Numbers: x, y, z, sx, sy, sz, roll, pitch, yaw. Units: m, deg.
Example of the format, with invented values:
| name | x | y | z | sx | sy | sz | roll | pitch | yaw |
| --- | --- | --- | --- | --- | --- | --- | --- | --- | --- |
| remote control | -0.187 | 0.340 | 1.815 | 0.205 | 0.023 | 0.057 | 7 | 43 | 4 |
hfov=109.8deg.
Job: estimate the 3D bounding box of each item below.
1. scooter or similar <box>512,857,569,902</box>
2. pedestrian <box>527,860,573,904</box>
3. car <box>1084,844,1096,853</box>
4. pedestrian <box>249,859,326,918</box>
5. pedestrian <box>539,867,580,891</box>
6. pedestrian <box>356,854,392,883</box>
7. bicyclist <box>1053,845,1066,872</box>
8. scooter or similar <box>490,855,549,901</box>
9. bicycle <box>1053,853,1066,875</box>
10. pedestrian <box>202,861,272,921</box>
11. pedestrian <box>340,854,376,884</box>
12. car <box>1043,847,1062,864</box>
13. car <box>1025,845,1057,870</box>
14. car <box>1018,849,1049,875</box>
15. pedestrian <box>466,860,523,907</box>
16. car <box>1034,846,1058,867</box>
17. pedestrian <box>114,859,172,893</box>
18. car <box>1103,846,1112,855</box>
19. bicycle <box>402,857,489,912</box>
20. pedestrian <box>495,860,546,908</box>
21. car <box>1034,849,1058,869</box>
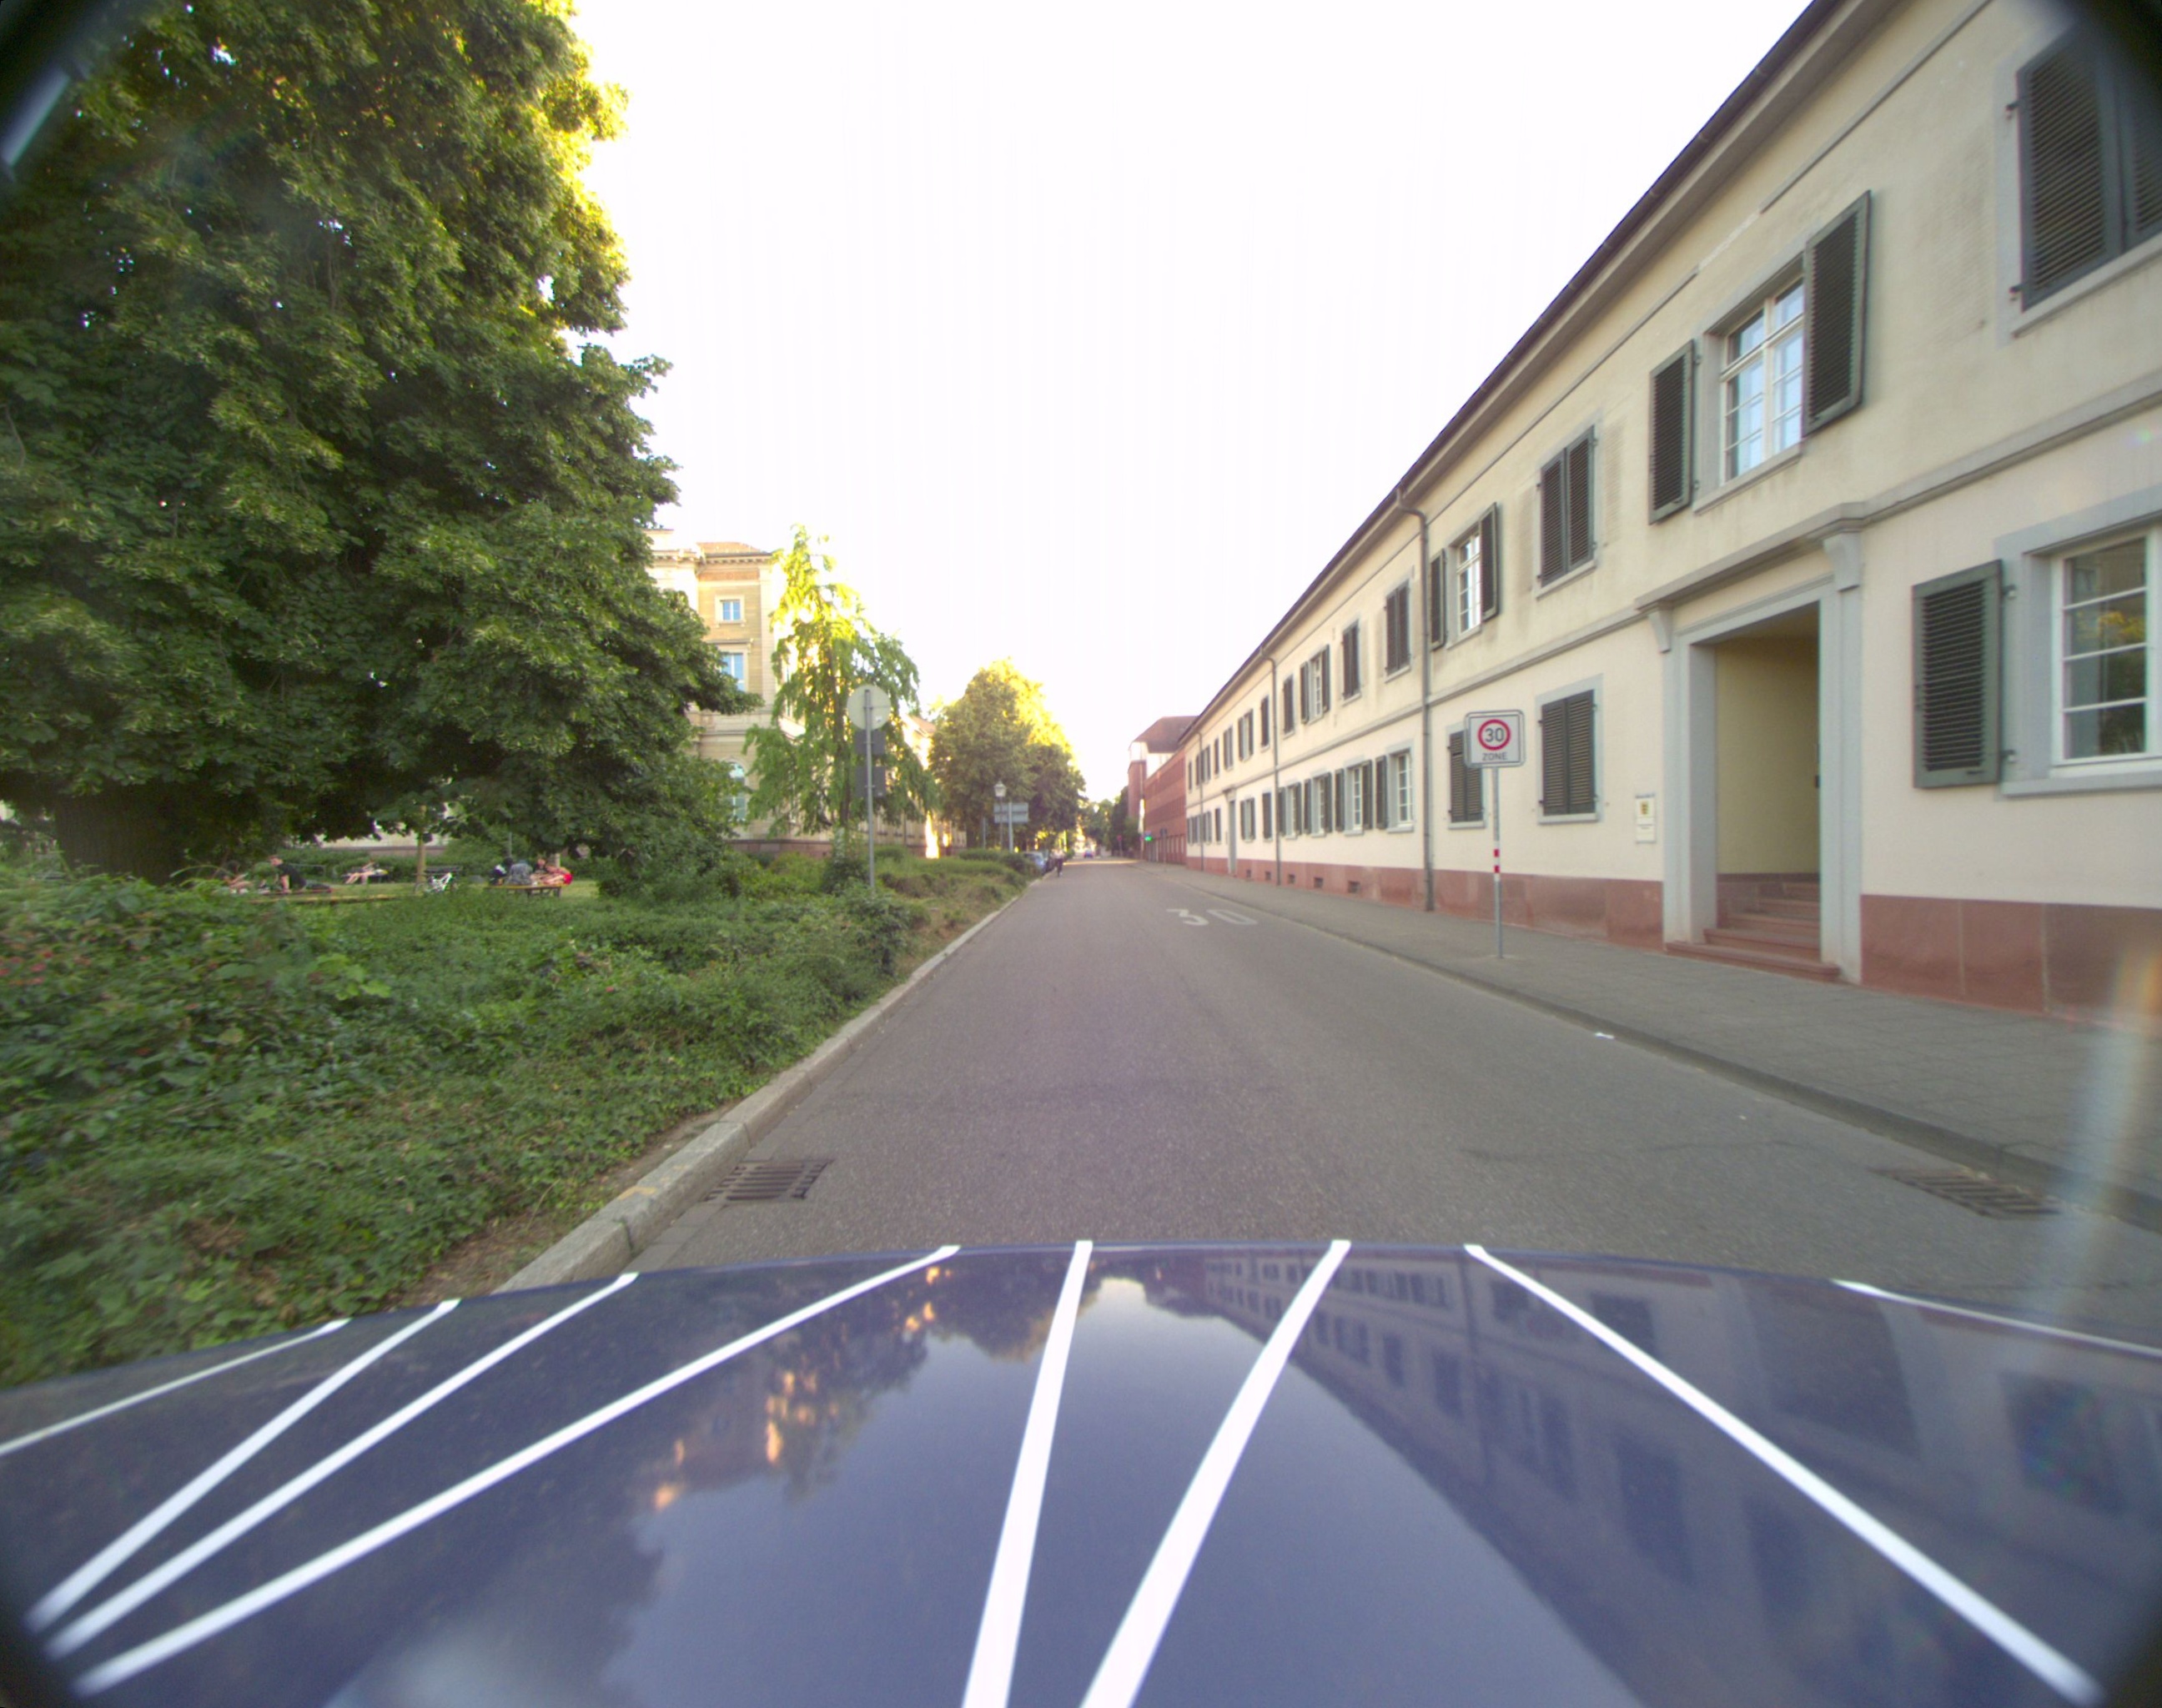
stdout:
| name | x | y | z | sx | sy | sz | roll | pitch | yaw |
| --- | --- | --- | --- | --- | --- | --- | --- | --- | --- |
| scooter or similar | -15.261 | 0.720 | 21.484 | 1.221 | 1.238 | 0.418 | -1 | 1 | -12 |
| pedestrian | -14.611 | 0.754 | 20.911 | 0.663 | 1.185 | 0.796 | 0 | 1 | 28 |
| car | 1.935 | -1.154 | 163.725 | 1.999 | 1.863 | 5.107 | -1 | -1 | -4 |
| pedestrian | -19.000 | 0.802 | 18.216 | 0.920 | 1.339 | 0.883 | -1 | 1 | -15 |
| pedestrian | -13.944 | 0.662 | 20.327 | 0.542 | 0.546 | 1.375 | 2 | 0 | -19 |
| pedestrian | -33.841 | 0.679 | 36.385 | 0.695 | 1.389 | 1.044 | 0 | 1 | 1 |
| bicyclist | -1.267 | 0.258 | 44.582 | 0.753 | 1.603 | 1.038 | 0 | 1 | -2 |
| scooter or similar | -15.427 | 0.646 | 20.896 | 1.221 | 1.238 | 0.417 | -1 | 1 | -16 |
| bicycle | -1.288 | 0.593 | 44.567 | 0.753 | 1.245 | 2.209 | 0 | 0 | -2 |
| pedestrian | -19.809 | 0.848 | 17.857 | 0.762 | 1.339 | 0.786 | -1 | 1 | -16 |
| pedestrian | -34.724 | 0.712 | 36.529 | 0.695 | 1.389 | 1.044 | 0 | 1 | 1 |
| car | -2.827 | 0.161 | 76.379 | 1.739 | 1.498 | 4.521 | 3 | 1 | 0 |
| car | -2.790 | 0.219 | 53.962 | 1.728 | 1.642 | 4.713 | 0 | 1 | 3 |
| car | -2.950 | 0.475 | 48.221 | 1.728 | 1.480 | 4.609 | 3 | 1 | -1 |
| pedestrian | -15.188 | 0.760 | 19.688 | 0.808 | 1.185 | 0.789 | 0 | 1 | 3 |
| car | -2.944 | 0.235 | 65.057 | 1.811 | 1.642 | 4.418 | 3 | 0 | 0 |
| pedestrian | -44.941 | 1.037 | 36.437 | 0.802 | 1.547 | 1.567 | 0 | 1 | 1 |
| car | 6.200 | -0.830 | 175.960 | 1.886 | 2.040 | 4.324 | 0 | 1 | 0 |
| bicycle | -16.352 | 0.754 | 19.626 | 0.621 | 1.292 | 2.018 | -1 | 1 | -4 |
| pedestrian | -14.413 | 0.764 | 19.547 | 0.724 | 1.185 | 0.747 | 0 | 1 | 4 |
| car | -2.764 | 0.370 | 60.161 | 1.728 | 1.529 | 4.189 | 0 | 0 | 0 |
